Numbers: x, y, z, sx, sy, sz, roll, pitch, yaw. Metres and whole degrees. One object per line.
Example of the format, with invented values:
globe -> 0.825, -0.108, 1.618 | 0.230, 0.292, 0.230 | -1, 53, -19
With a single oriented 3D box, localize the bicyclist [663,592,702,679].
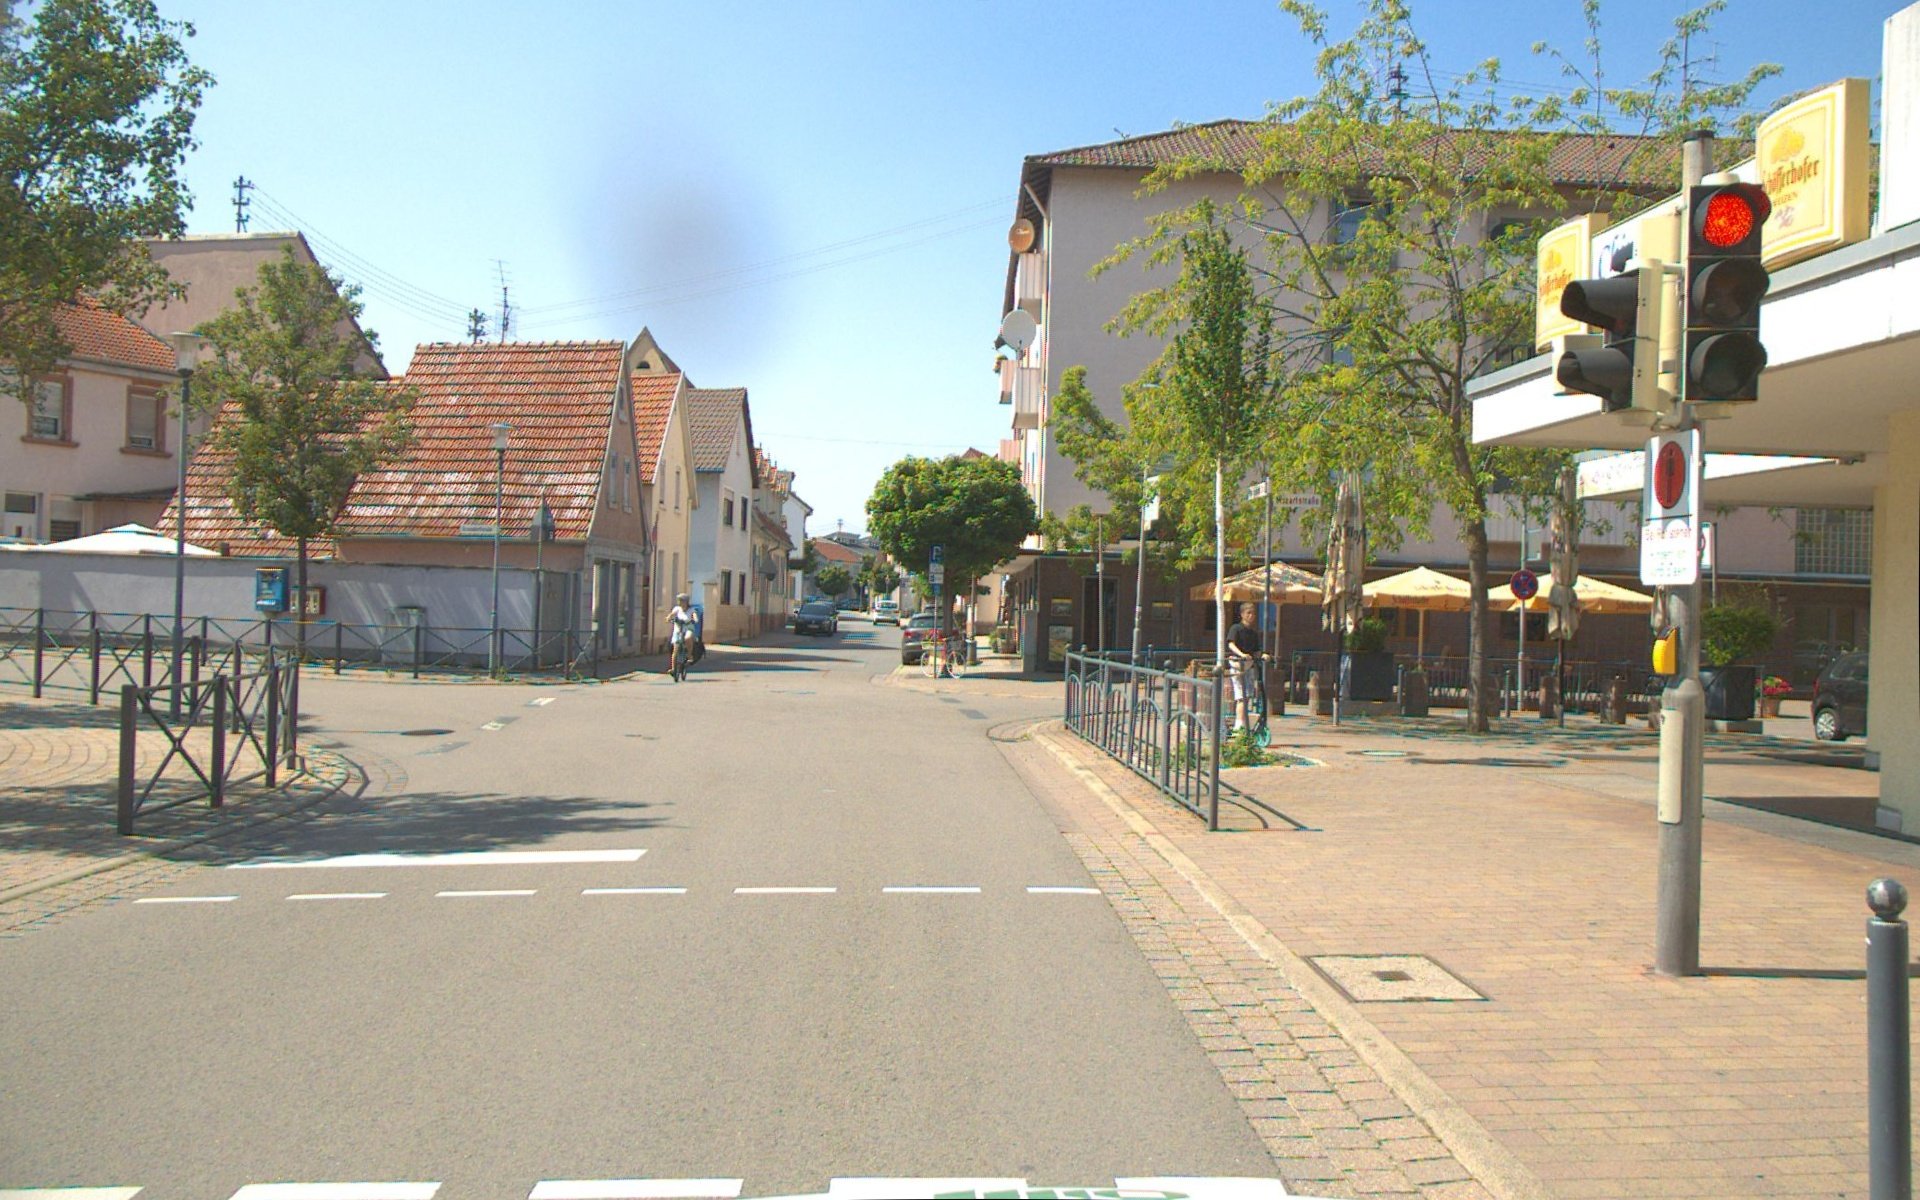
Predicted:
bicyclist -> -5.582, 0.706, 33.331 | 0.655, 1.720, 0.761 | 1, -1, -1

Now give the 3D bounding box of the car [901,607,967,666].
car -> -0.708, 1.003, 47.370 | 1.768, 1.528, 4.000 | 2, 0, 0

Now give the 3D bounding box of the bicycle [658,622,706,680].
bicycle -> -5.586, 1.019, 33.327 | 0.660, 1.113, 1.895 | 0, 0, -1

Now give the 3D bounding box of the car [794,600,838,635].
car -> -6.787, 0.811, 78.086 | 1.679, 1.543, 3.786 | 2, 0, 0

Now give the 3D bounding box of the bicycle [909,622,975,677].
bicycle -> -0.432, 1.142, 38.619 | 0.523, 1.214, 1.648 | 2, -1, -44

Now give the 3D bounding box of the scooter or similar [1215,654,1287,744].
scooter or similar -> 3.047, 1.033, 17.361 | 0.372, 0.889, 0.886 | 2, -1, -16

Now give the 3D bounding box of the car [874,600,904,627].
car -> -4.653, 0.895, 108.601 | 1.796, 1.681, 3.999 | 1, 0, -1

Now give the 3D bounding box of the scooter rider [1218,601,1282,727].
scooter rider -> 3.046, 0.669, 17.406 | 0.508, 1.308, 0.416 | 2, -1, -17
